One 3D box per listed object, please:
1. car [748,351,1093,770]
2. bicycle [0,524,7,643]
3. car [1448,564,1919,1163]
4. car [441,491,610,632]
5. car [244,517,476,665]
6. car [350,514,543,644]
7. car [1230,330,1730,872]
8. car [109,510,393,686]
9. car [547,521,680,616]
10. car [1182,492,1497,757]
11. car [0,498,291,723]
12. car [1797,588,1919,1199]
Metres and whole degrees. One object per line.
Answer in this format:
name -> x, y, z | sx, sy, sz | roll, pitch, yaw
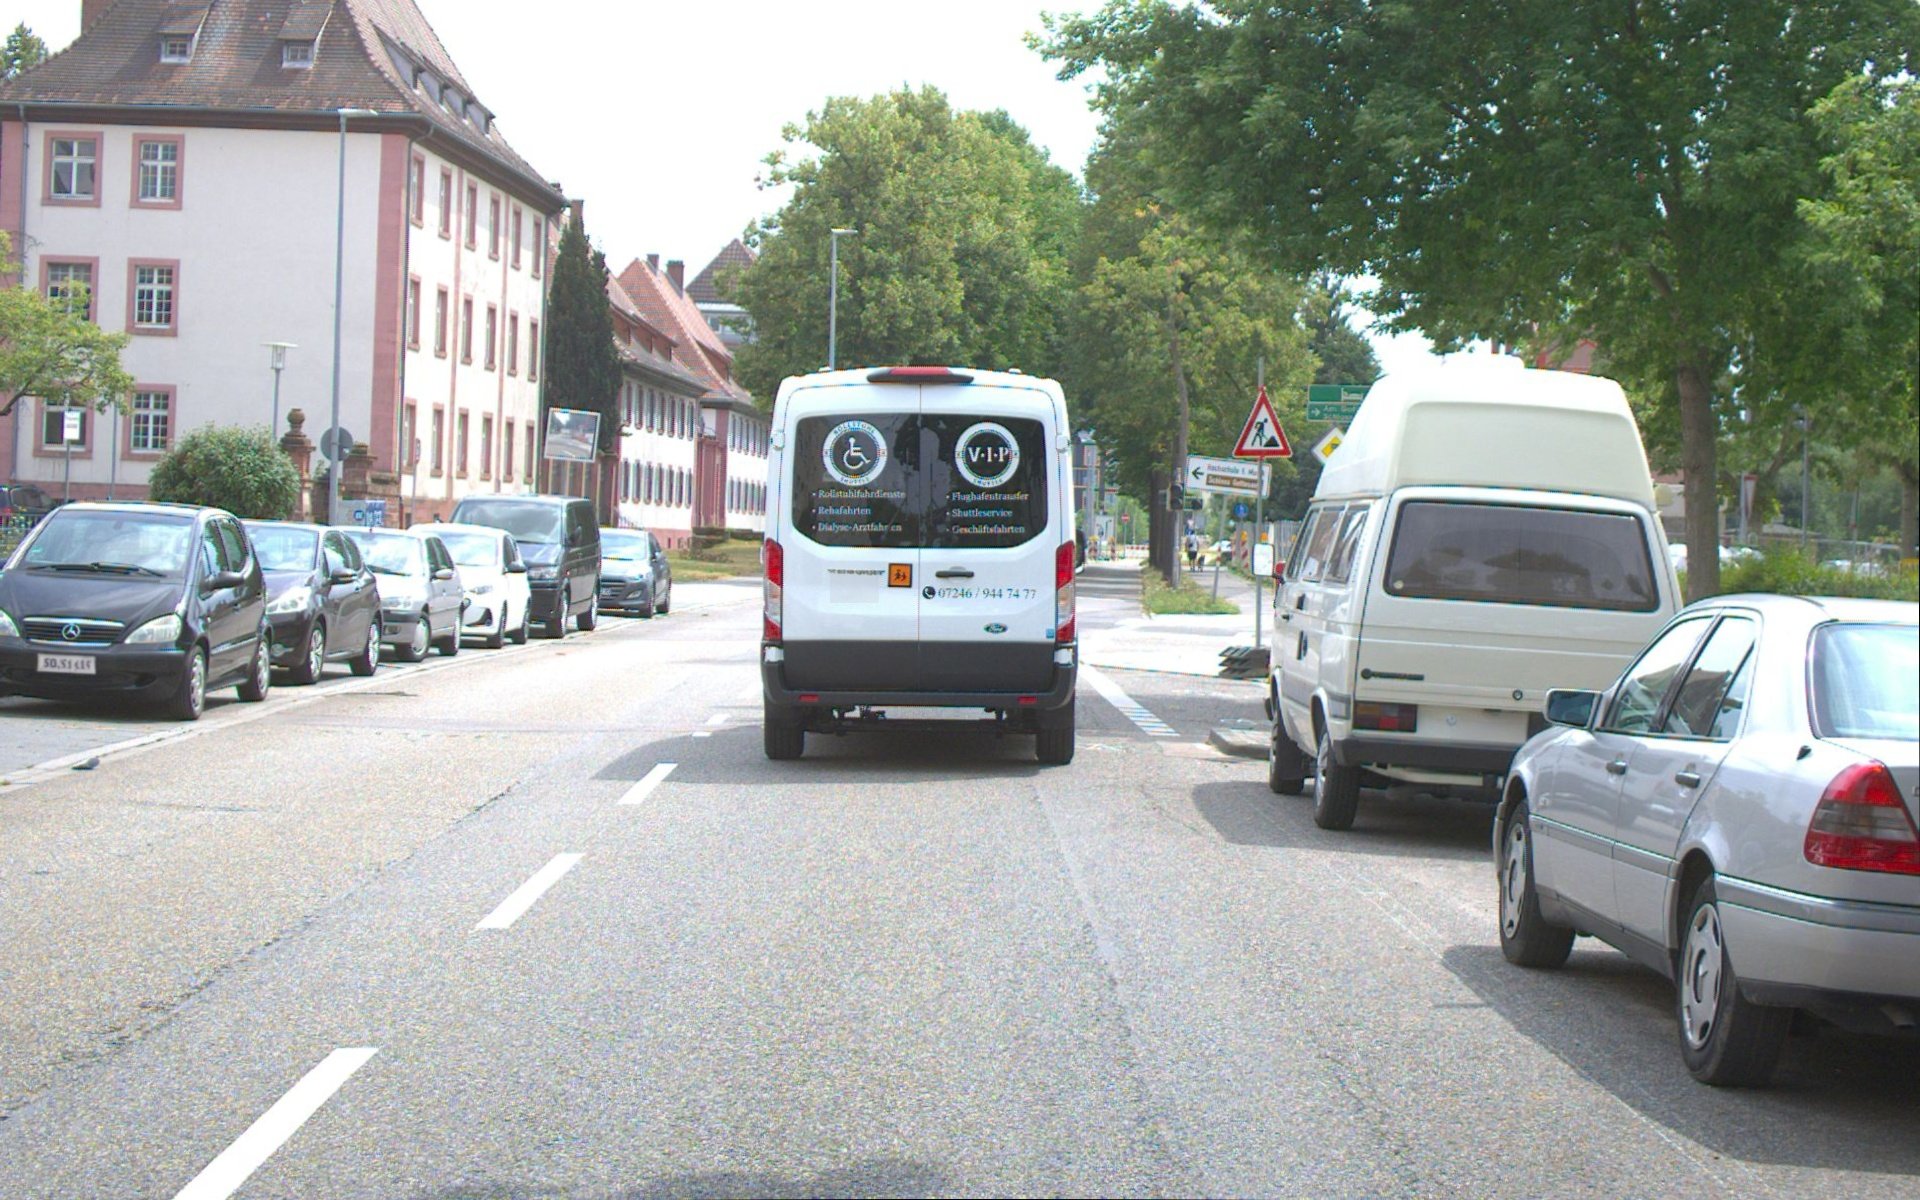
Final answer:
car -> -0.341, -0.264, 23.313 | 2.070, 2.531, 4.635 | 1, 1, -2
bicycle -> -9.770, -0.158, 33.453 | 0.541, 1.171, 1.349 | 1, 1, 3
car -> 2.878, 0.700, 11.076 | 1.680, 1.464, 4.556 | 4, 1, -2
car -> -6.126, -0.558, 48.851 | 1.786, 1.820, 3.974 | 3, 1, 0
car -> -6.540, -0.129, 37.822 | 1.786, 1.457, 3.861 | 3, 1, 0
car -> -6.465, -0.288, 43.677 | 1.786, 1.477, 3.861 | 3, 1, 0
car -> 2.789, -0.031, 19.616 | 1.897, 2.578, 4.829 | 4, 1, -1
car -> -6.576, -0.049, 32.280 | 1.786, 1.457, 3.861 | 3, 1, 0
car -> -5.897, -0.557, 58.900 | 1.786, 1.477, 3.861 | 3, 1, 0
car -> 2.724, 0.137, 25.493 | 1.712, 1.689, 4.001 | 4, 1, -1
car -> -6.477, 0.031, 26.504 | 1.786, 1.538, 3.861 | 3, 1, 0
car -> 3.002, 0.800, 6.247 | 1.712, 1.459, 4.001 | 4, 1, -3
